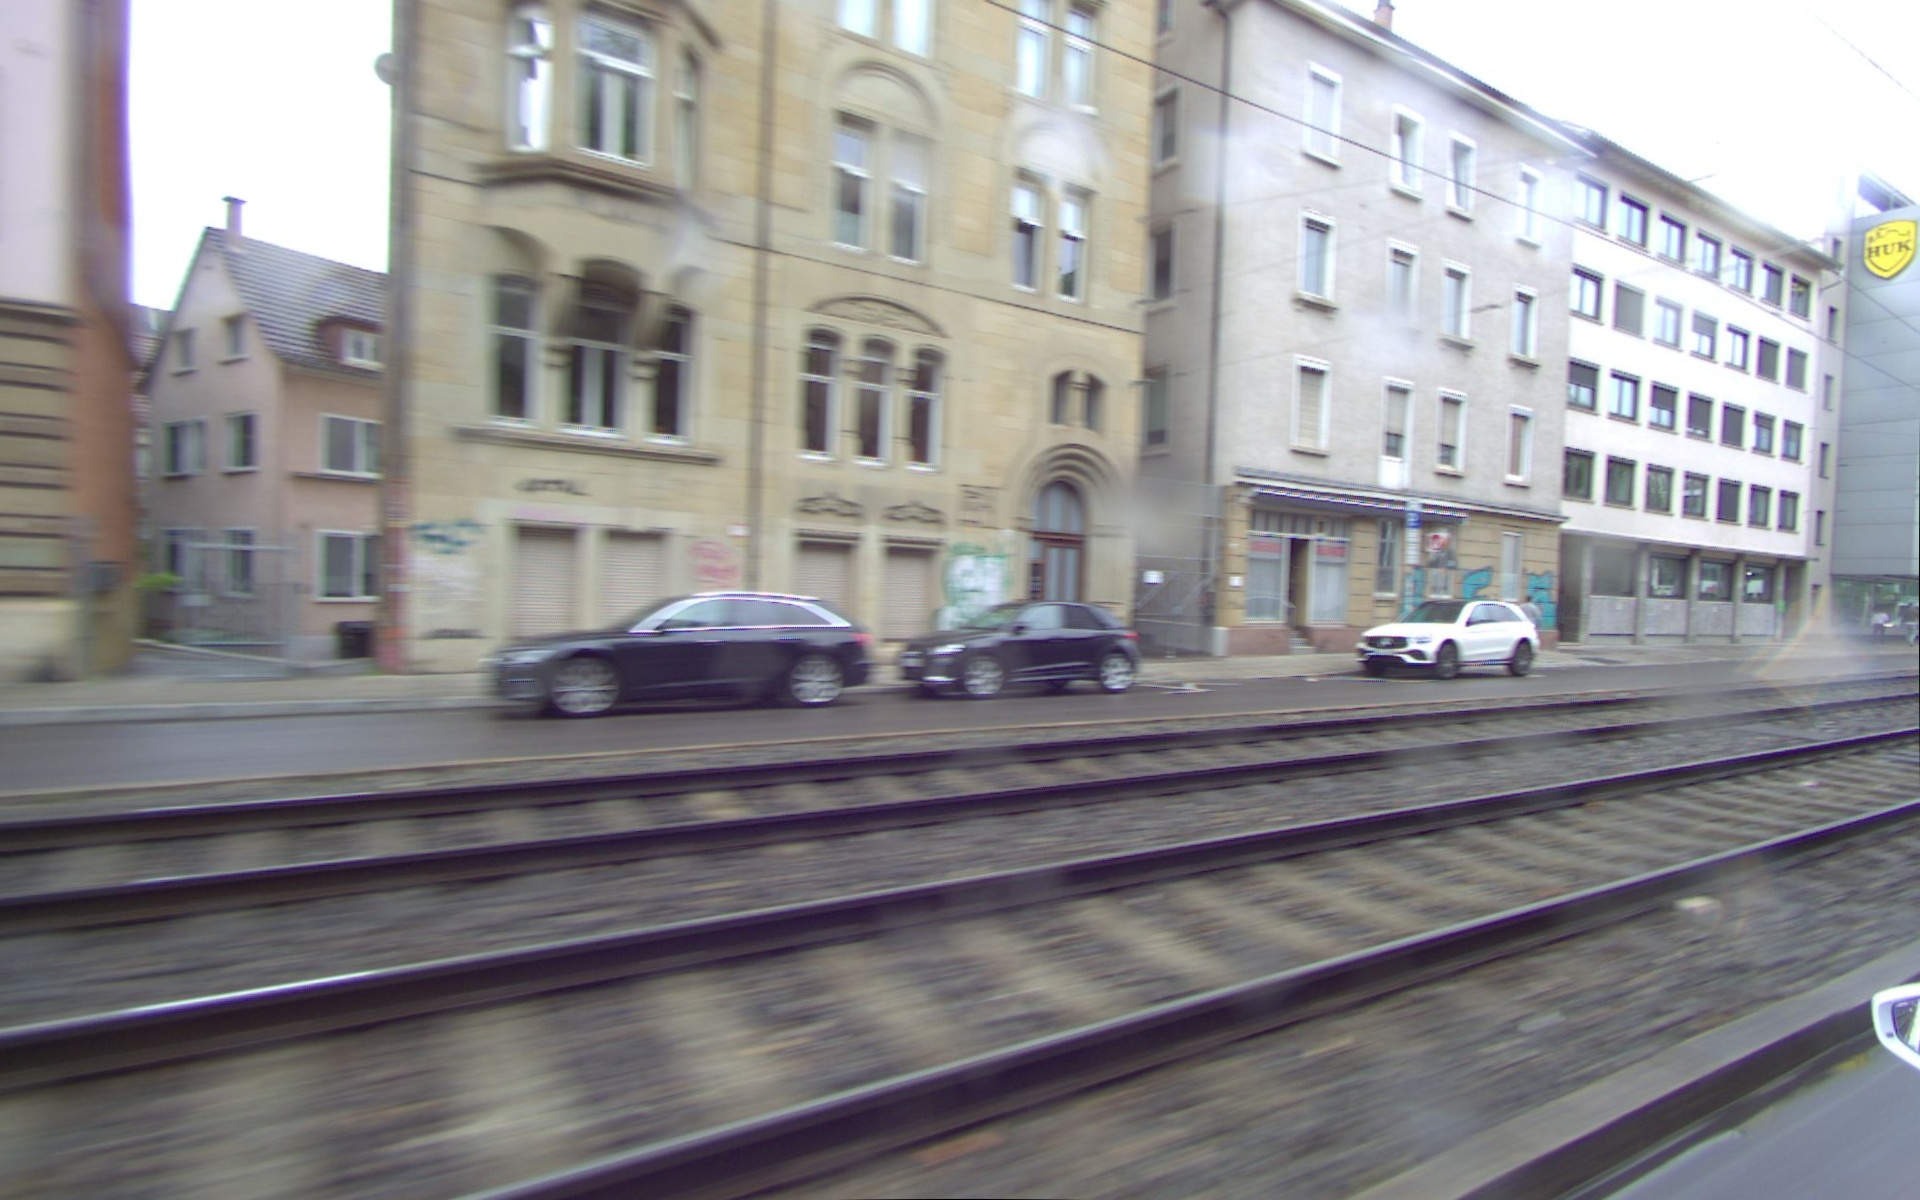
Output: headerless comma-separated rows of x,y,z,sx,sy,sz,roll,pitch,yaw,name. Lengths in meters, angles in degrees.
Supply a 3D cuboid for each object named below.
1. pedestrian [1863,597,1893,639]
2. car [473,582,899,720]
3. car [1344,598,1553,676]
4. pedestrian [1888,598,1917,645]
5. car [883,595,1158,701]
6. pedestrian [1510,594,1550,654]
42.367,0.829,46.352,0.962,1.840,0.657,1,3,-32,pedestrian
-3.420,0.619,12.964,4.967,1.475,1.982,1,-2,-33,car
10.777,0.810,22.071,4.697,1.556,1.982,1,-2,-33,car
42.851,0.976,45.662,0.801,2.041,0.657,1,3,-32,pedestrian
1.004,0.723,15.825,4.125,1.475,1.727,1,-2,-33,car
16.064,0.662,28.306,0.789,1.634,0.544,1,4,-30,pedestrian
